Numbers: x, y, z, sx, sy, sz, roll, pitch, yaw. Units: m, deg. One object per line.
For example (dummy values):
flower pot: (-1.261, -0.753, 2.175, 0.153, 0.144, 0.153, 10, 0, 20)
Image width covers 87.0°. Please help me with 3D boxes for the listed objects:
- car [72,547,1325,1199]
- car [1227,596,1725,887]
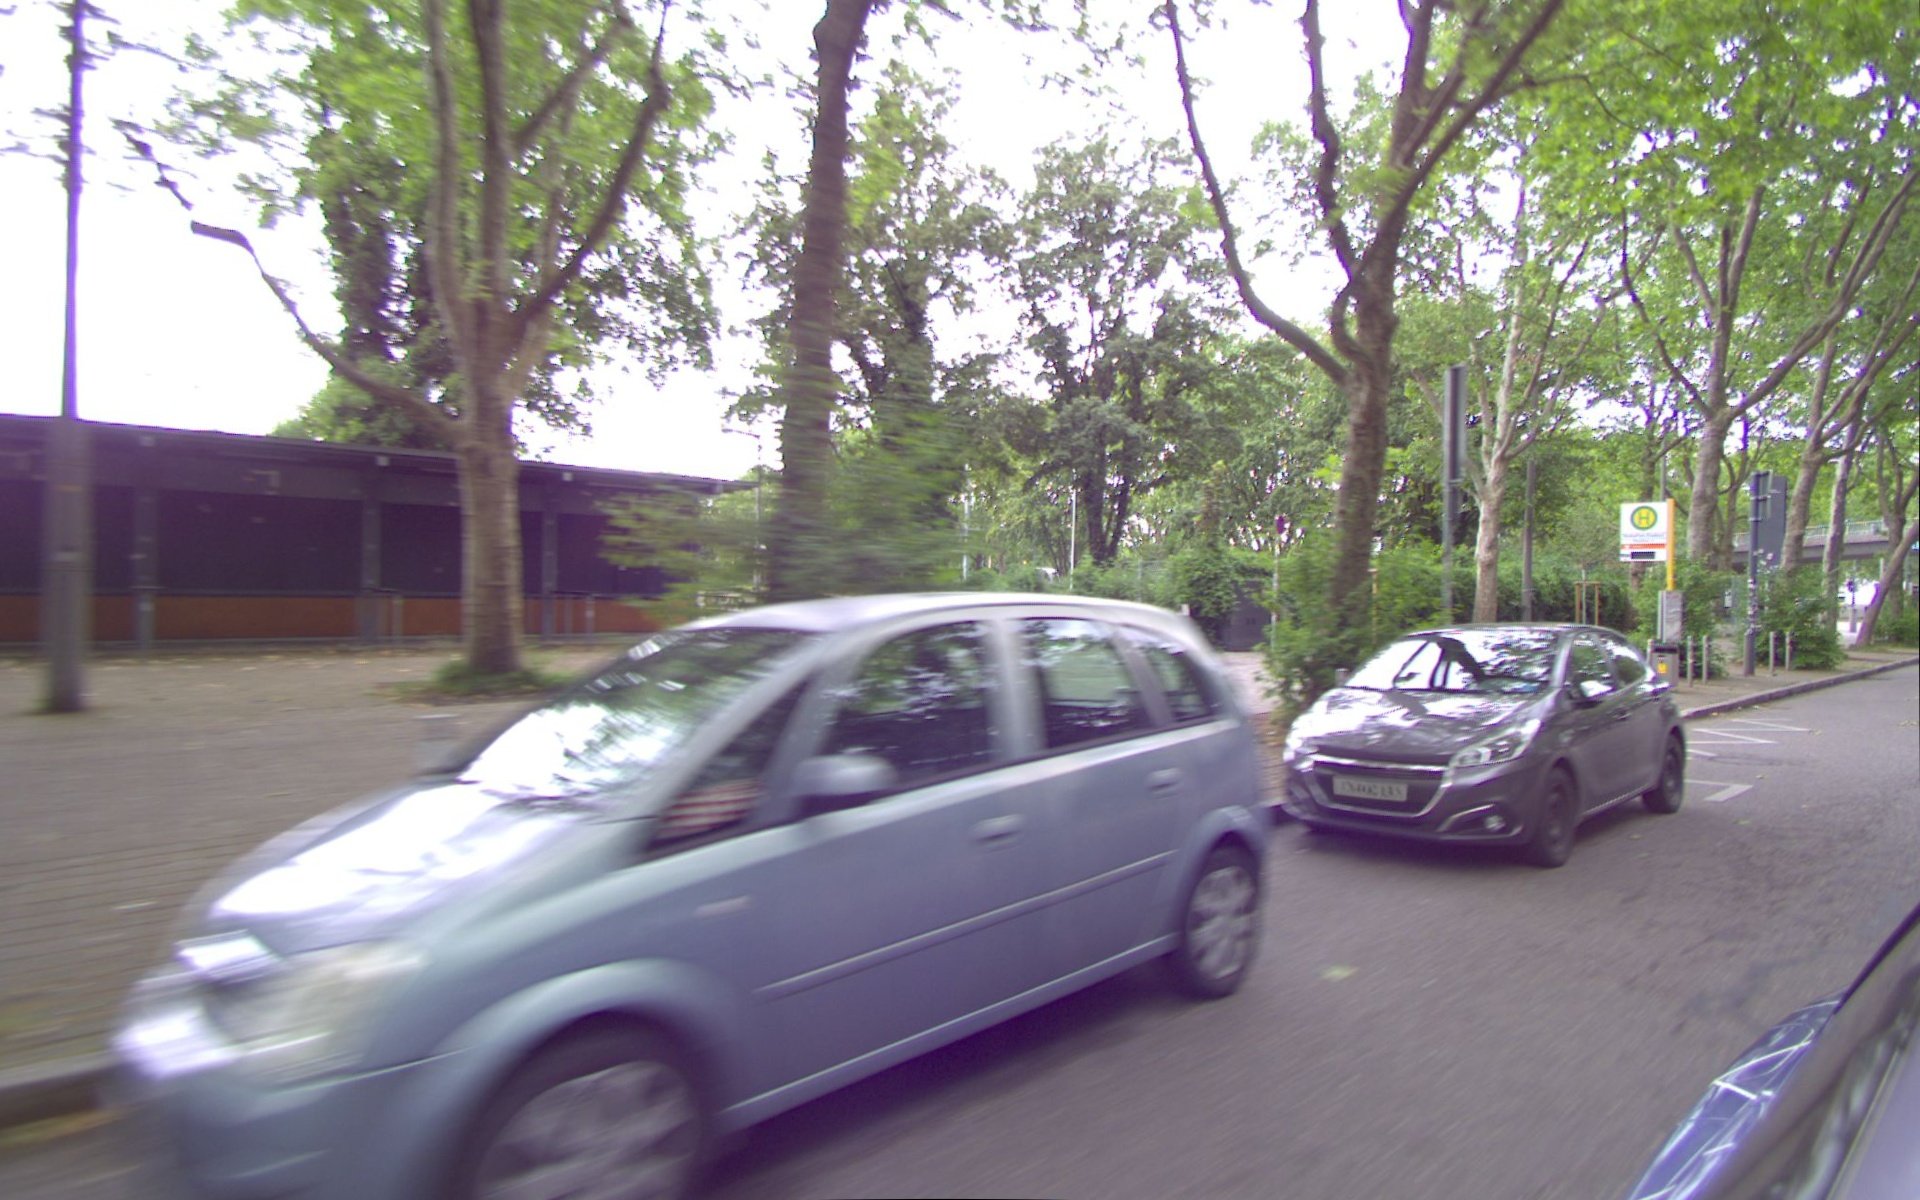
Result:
car: (-0.504, 0.741, 3.646, 4.025, 1.587, 1.720, 0, -3, -43)
car: (3.988, 0.795, 7.457, 4.375, 1.539, 1.701, 0, -3, -41)
